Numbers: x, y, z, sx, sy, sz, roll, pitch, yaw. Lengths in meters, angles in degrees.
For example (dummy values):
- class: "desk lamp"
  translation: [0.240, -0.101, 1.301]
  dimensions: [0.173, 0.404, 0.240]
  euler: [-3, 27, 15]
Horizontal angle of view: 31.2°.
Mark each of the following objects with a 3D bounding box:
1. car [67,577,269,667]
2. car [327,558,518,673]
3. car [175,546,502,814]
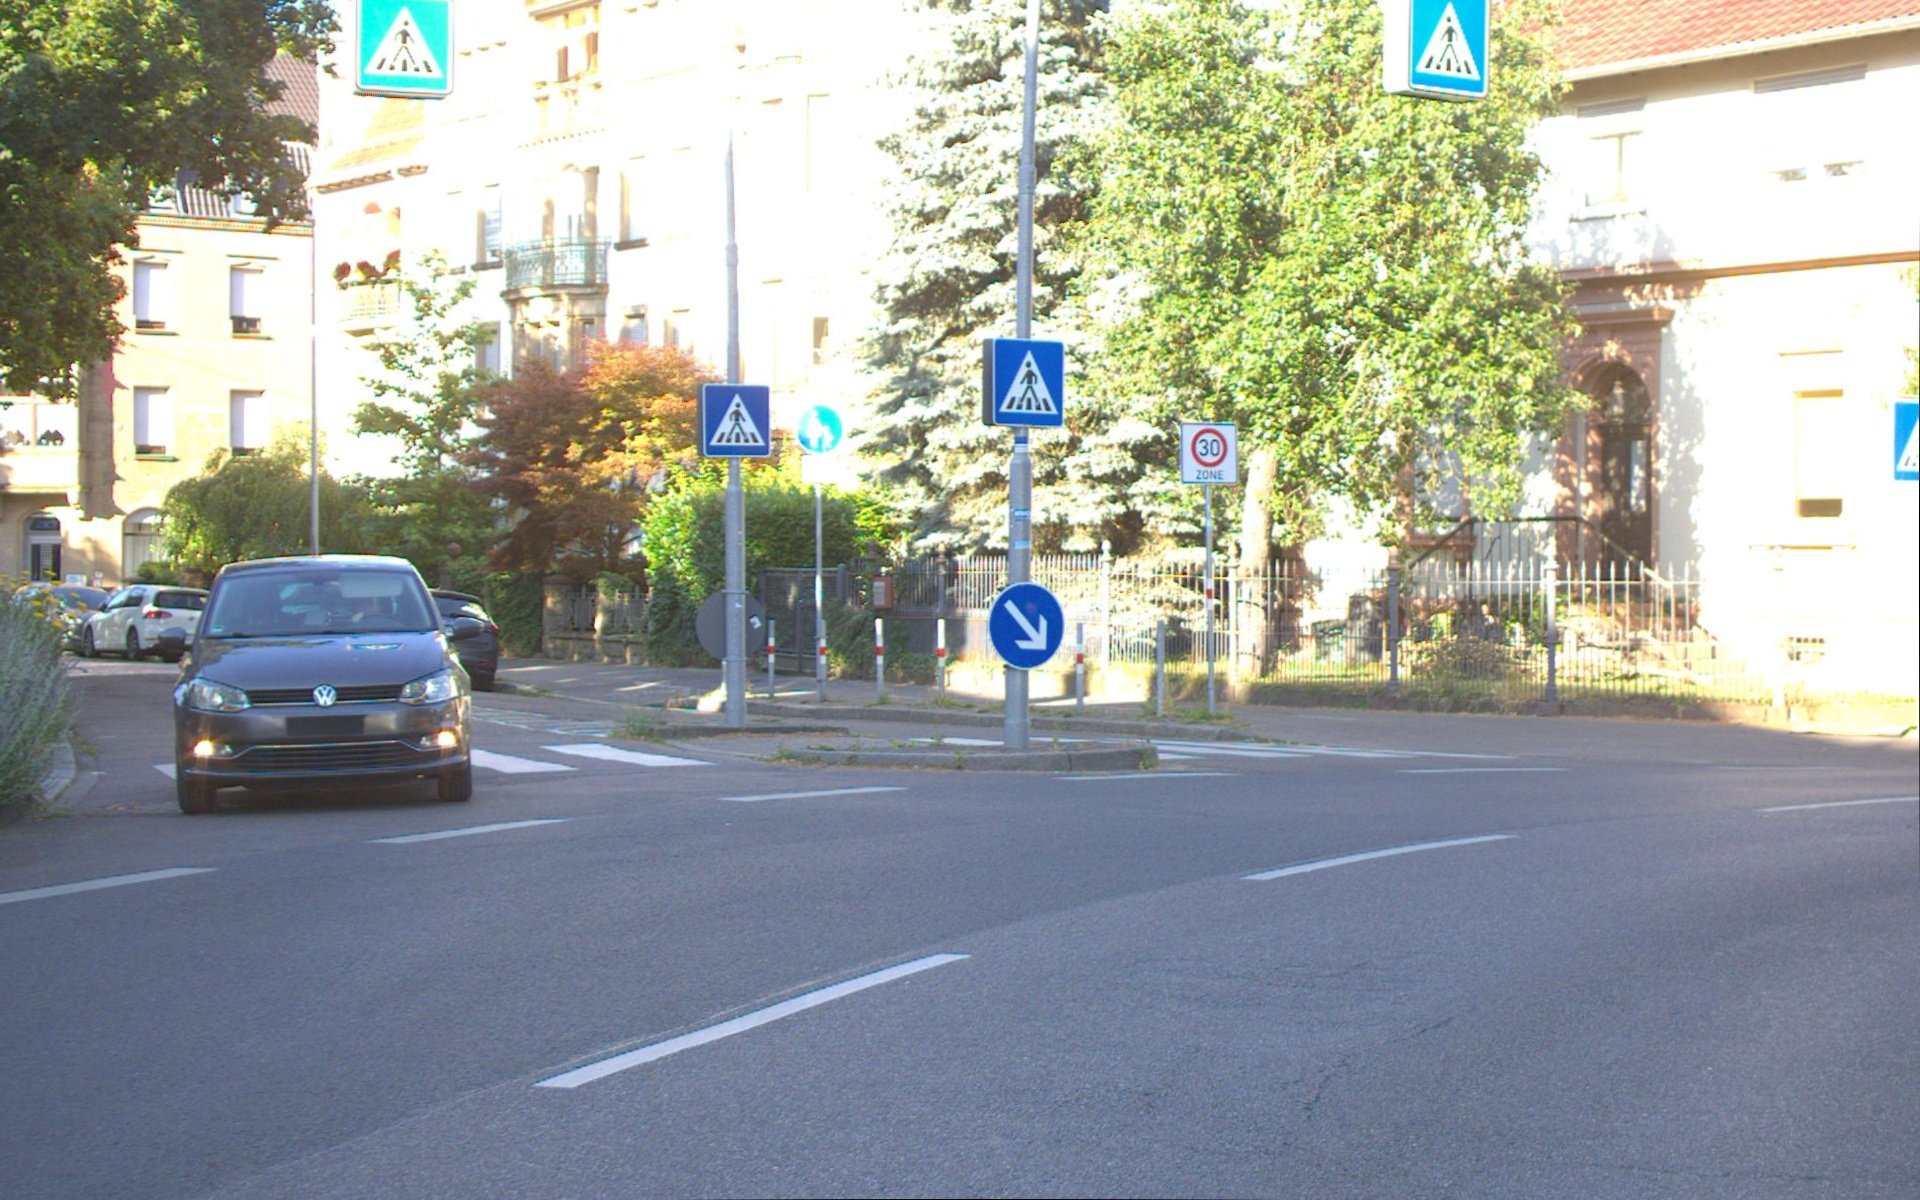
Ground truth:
- class: "car"
  translation: [-15.000, 0.393, 64.886]
  dimensions: [2.340, 1.590, 4.930]
  euler: [1, 0, -30]
- class: "car"
  translation: [-7.919, 0.204, 50.350]
  dimensions: [1.993, 1.590, 4.001]
  euler: [1, 0, -20]
- class: "car"
  translation: [-3.737, 0.407, 20.481]
  dimensions: [1.712, 1.398, 3.739]
  euler: [-2, 1, -11]
